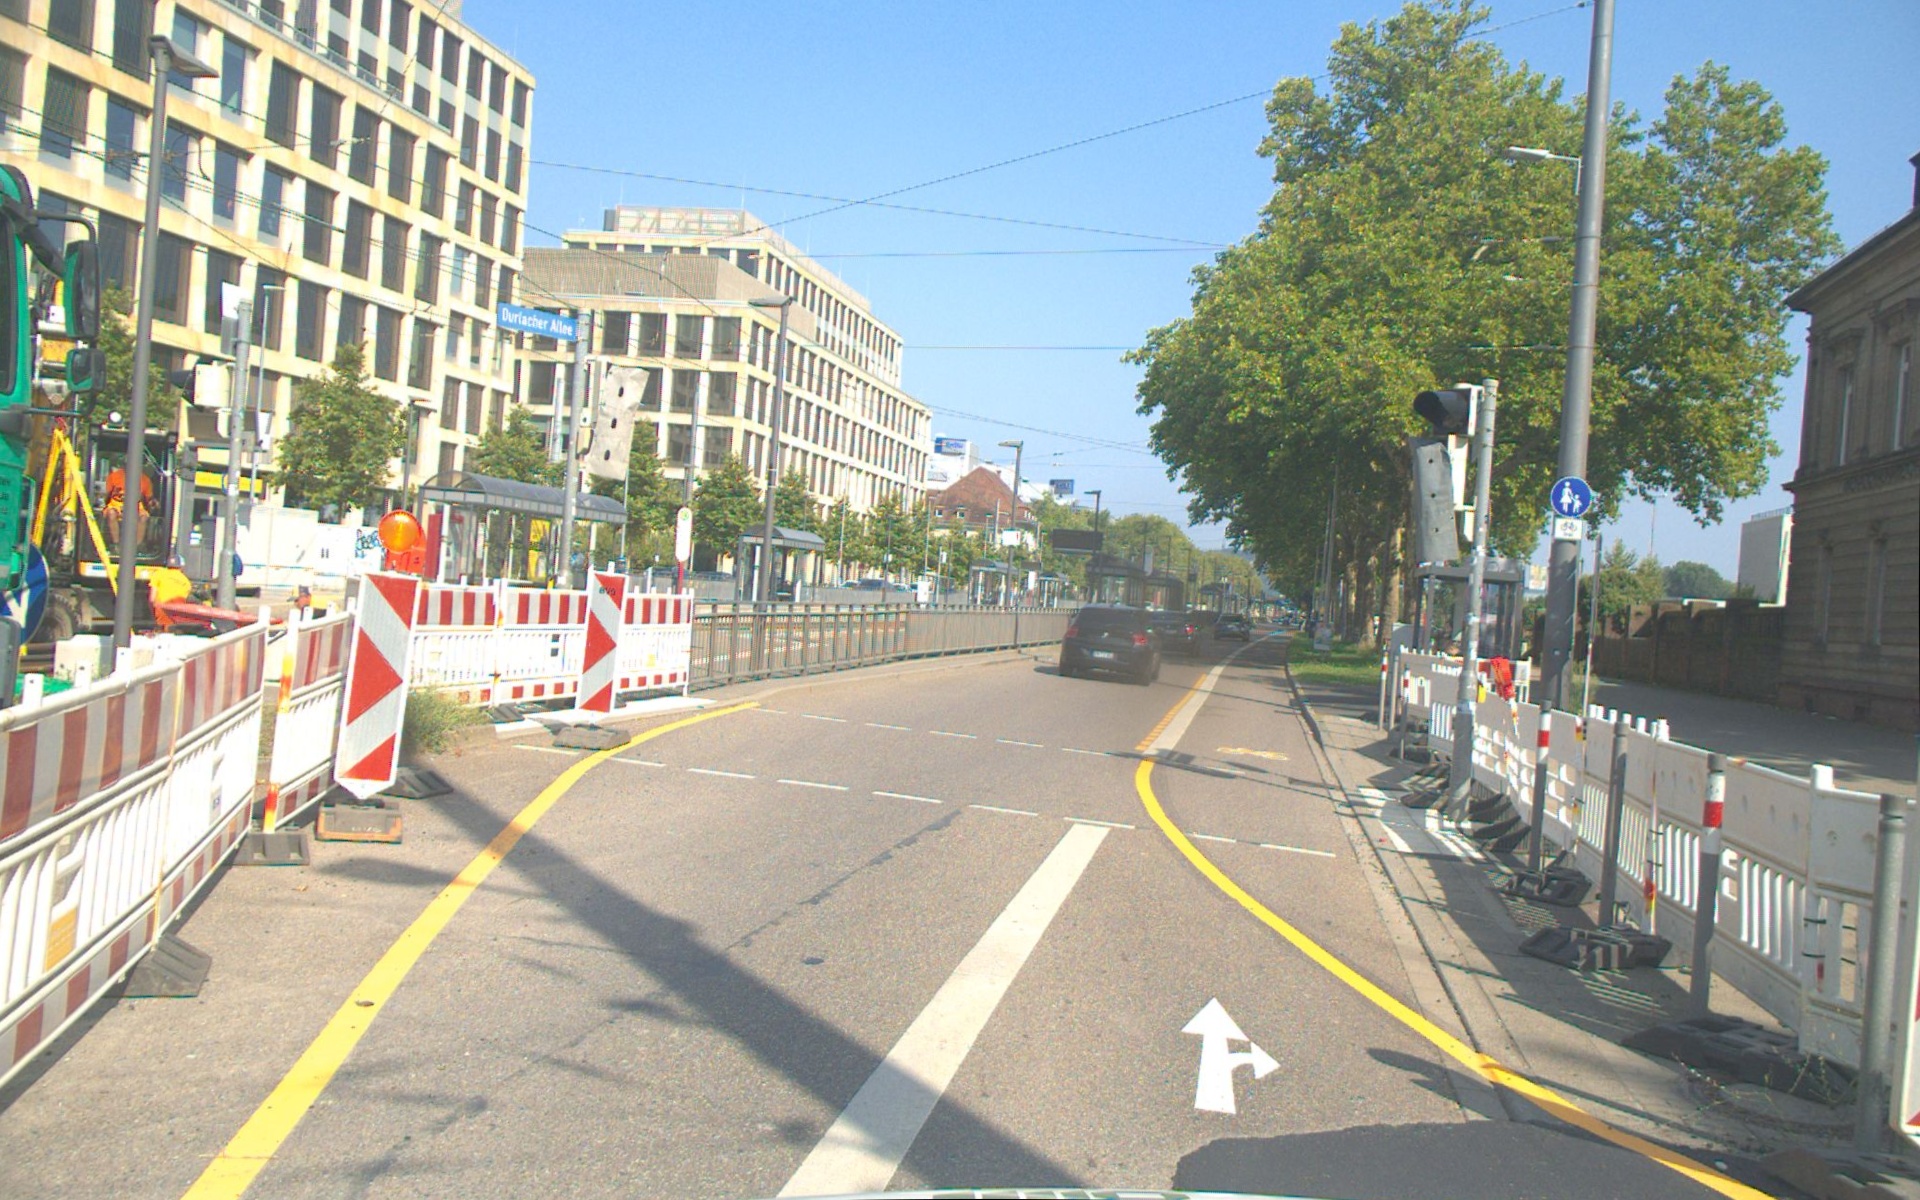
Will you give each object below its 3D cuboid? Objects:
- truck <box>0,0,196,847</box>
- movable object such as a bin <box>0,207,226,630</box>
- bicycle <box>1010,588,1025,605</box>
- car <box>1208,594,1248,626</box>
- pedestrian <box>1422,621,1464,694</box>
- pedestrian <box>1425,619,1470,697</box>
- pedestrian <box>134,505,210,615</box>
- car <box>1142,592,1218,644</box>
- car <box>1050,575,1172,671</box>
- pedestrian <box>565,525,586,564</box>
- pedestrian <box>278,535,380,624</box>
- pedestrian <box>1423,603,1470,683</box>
[{"bbox_3d":[-5.052,-1.006,2.986,2.750,3.854,9.018,3,1,2],"label":"truck"},{"bbox_3d":[-11.660,-2.083,19.998,2.924,4.632,4.215,4,1,13],"label":"movable object such as a bin"},{"bbox_3d":[4.340,-0.256,124.764,0.462,1.167,1.482,4,0,26],"label":"bicycle"},{"bbox_3d":[14.359,0.547,88.470,1.867,1.564,4.003,4,0,11],"label":"car"},{"bbox_3d":[8.539,1.016,29.268,0.595,1.239,0.575,2,0,9],"label":"pedestrian"},{"bbox_3d":[8.380,0.987,28.455,0.595,1.299,0.760,2,0,9],"label":"pedestrian"},{"bbox_3d":[-8.861,-0.452,18.598,0.582,1.175,0.693,3,1,-39],"label":"pedestrian"},{"bbox_3d":[7.072,0.582,52.872,1.951,1.466,4.003,4,0,13],"label":"car"},{"bbox_3d":[3.053,0.419,32.656,1.868,1.563,4.003,7,1,11],"label":"car"},{"bbox_3d":[-19.746,-2.855,84.854,0.776,1.951,0.839,1,-1,6],"label":"pedestrian"},{"bbox_3d":[-7.343,-0.233,19.272,0.686,0.971,0.882,4,1,12],"label":"pedestrian"},{"bbox_3d":[10.600,0.919,36.016,0.863,1.654,0.823,4,1,18],"label":"pedestrian"}]
